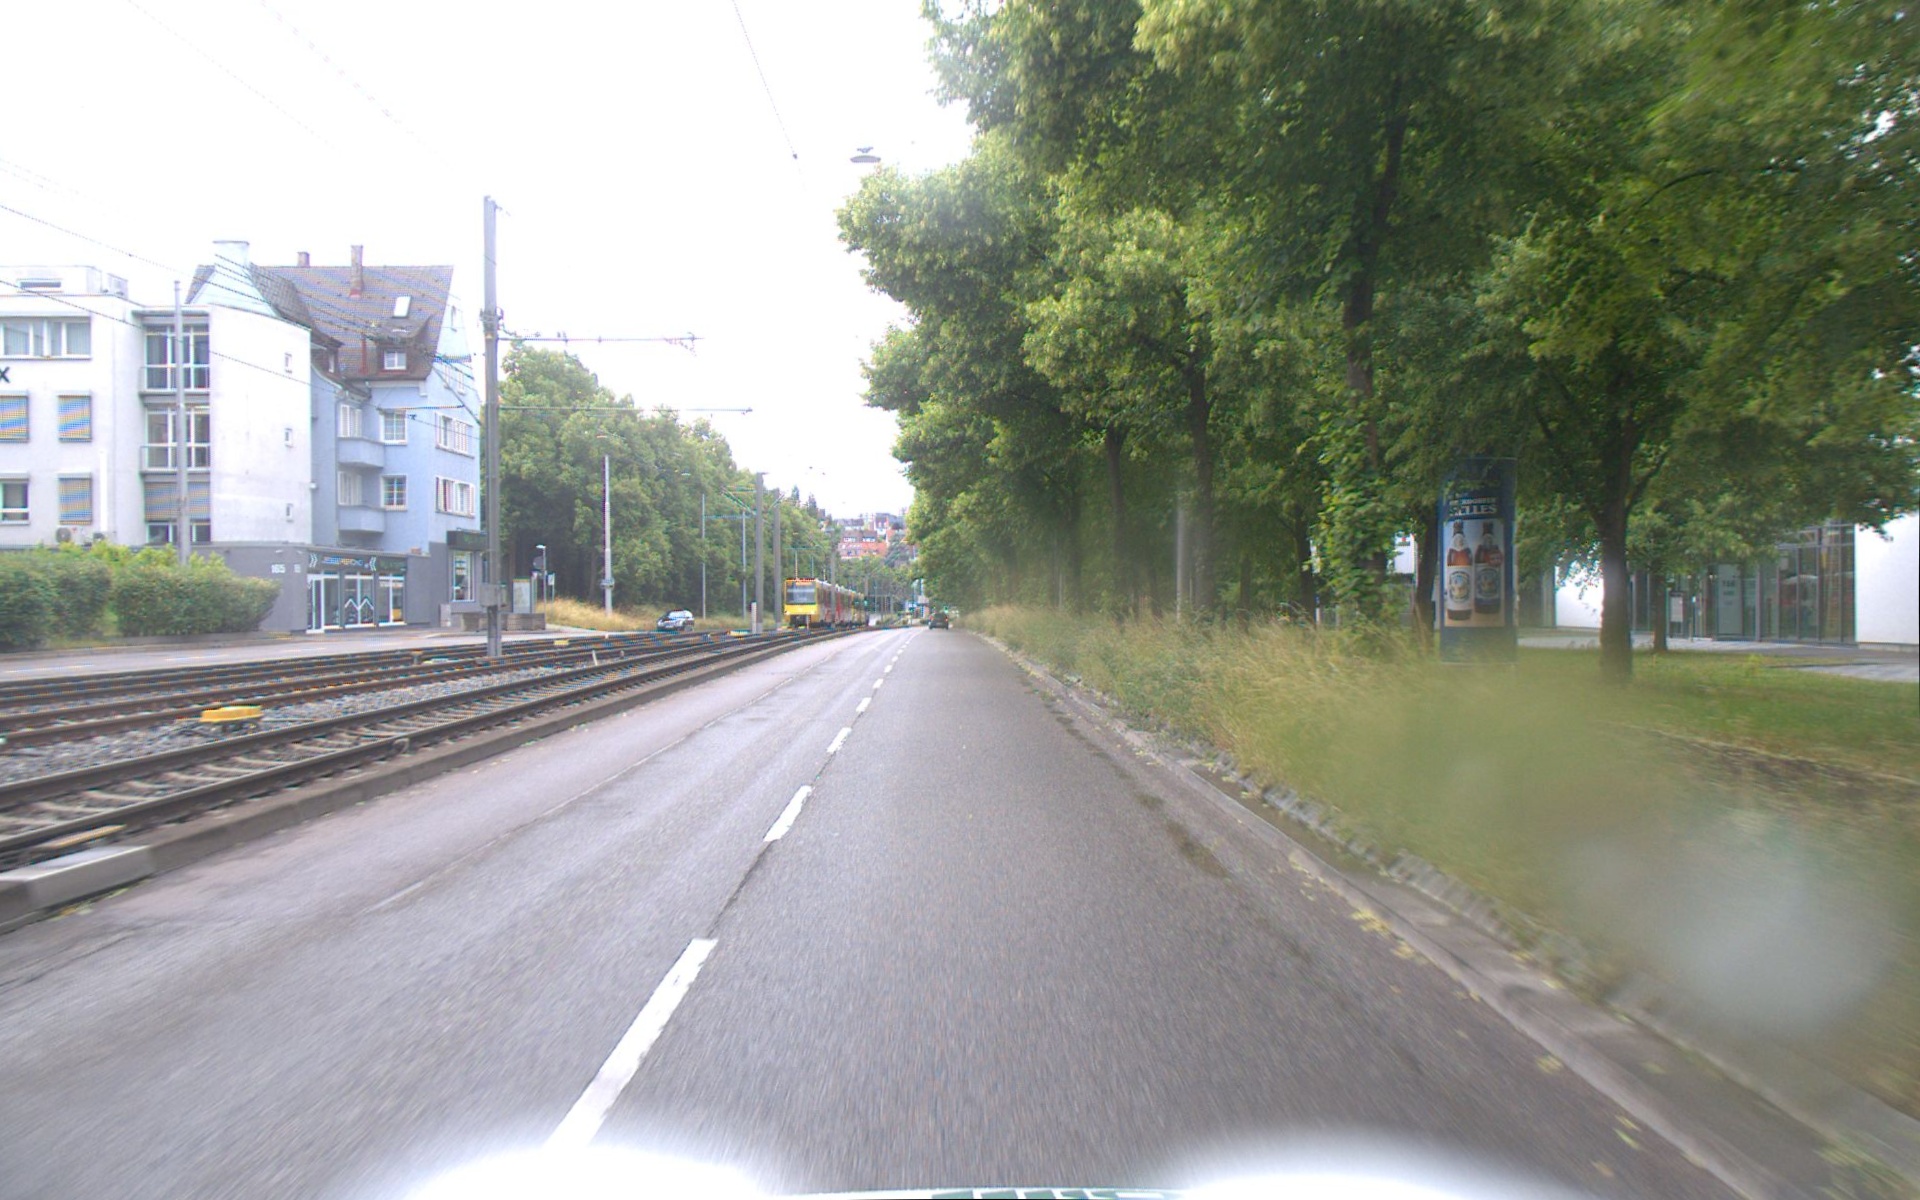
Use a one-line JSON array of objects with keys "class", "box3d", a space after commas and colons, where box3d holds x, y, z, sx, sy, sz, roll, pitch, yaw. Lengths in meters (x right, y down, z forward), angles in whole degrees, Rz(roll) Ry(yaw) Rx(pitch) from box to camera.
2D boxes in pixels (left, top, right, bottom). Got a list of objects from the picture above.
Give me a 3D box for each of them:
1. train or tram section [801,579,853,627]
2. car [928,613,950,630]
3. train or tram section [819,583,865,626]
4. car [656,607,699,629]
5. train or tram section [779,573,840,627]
[{"class": "train or tram section", "box3d": [-11.308, 0.366, 142.256, 3.148, 3.863, 14.788, 0, -1, 1]}, {"class": "car", "box3d": [-1.858, 1.902, 145.642, 1.942, 1.466, 4.473, 0, 0, -1]}, {"class": "train or tram section", "box3d": [-11.130, 0.556, 157.100, 3.148, 3.863, 14.788, 0, -1, 1]}, {"class": "car", "box3d": [-17.911, 1.171, 105.182, 1.863, 1.348, 4.826, -1, -1, 0]}, {"class": "train or tram section", "box3d": [-11.458, 0.105, 127.433, 3.148, 3.863, 14.788, 0, -1, 1]}]
